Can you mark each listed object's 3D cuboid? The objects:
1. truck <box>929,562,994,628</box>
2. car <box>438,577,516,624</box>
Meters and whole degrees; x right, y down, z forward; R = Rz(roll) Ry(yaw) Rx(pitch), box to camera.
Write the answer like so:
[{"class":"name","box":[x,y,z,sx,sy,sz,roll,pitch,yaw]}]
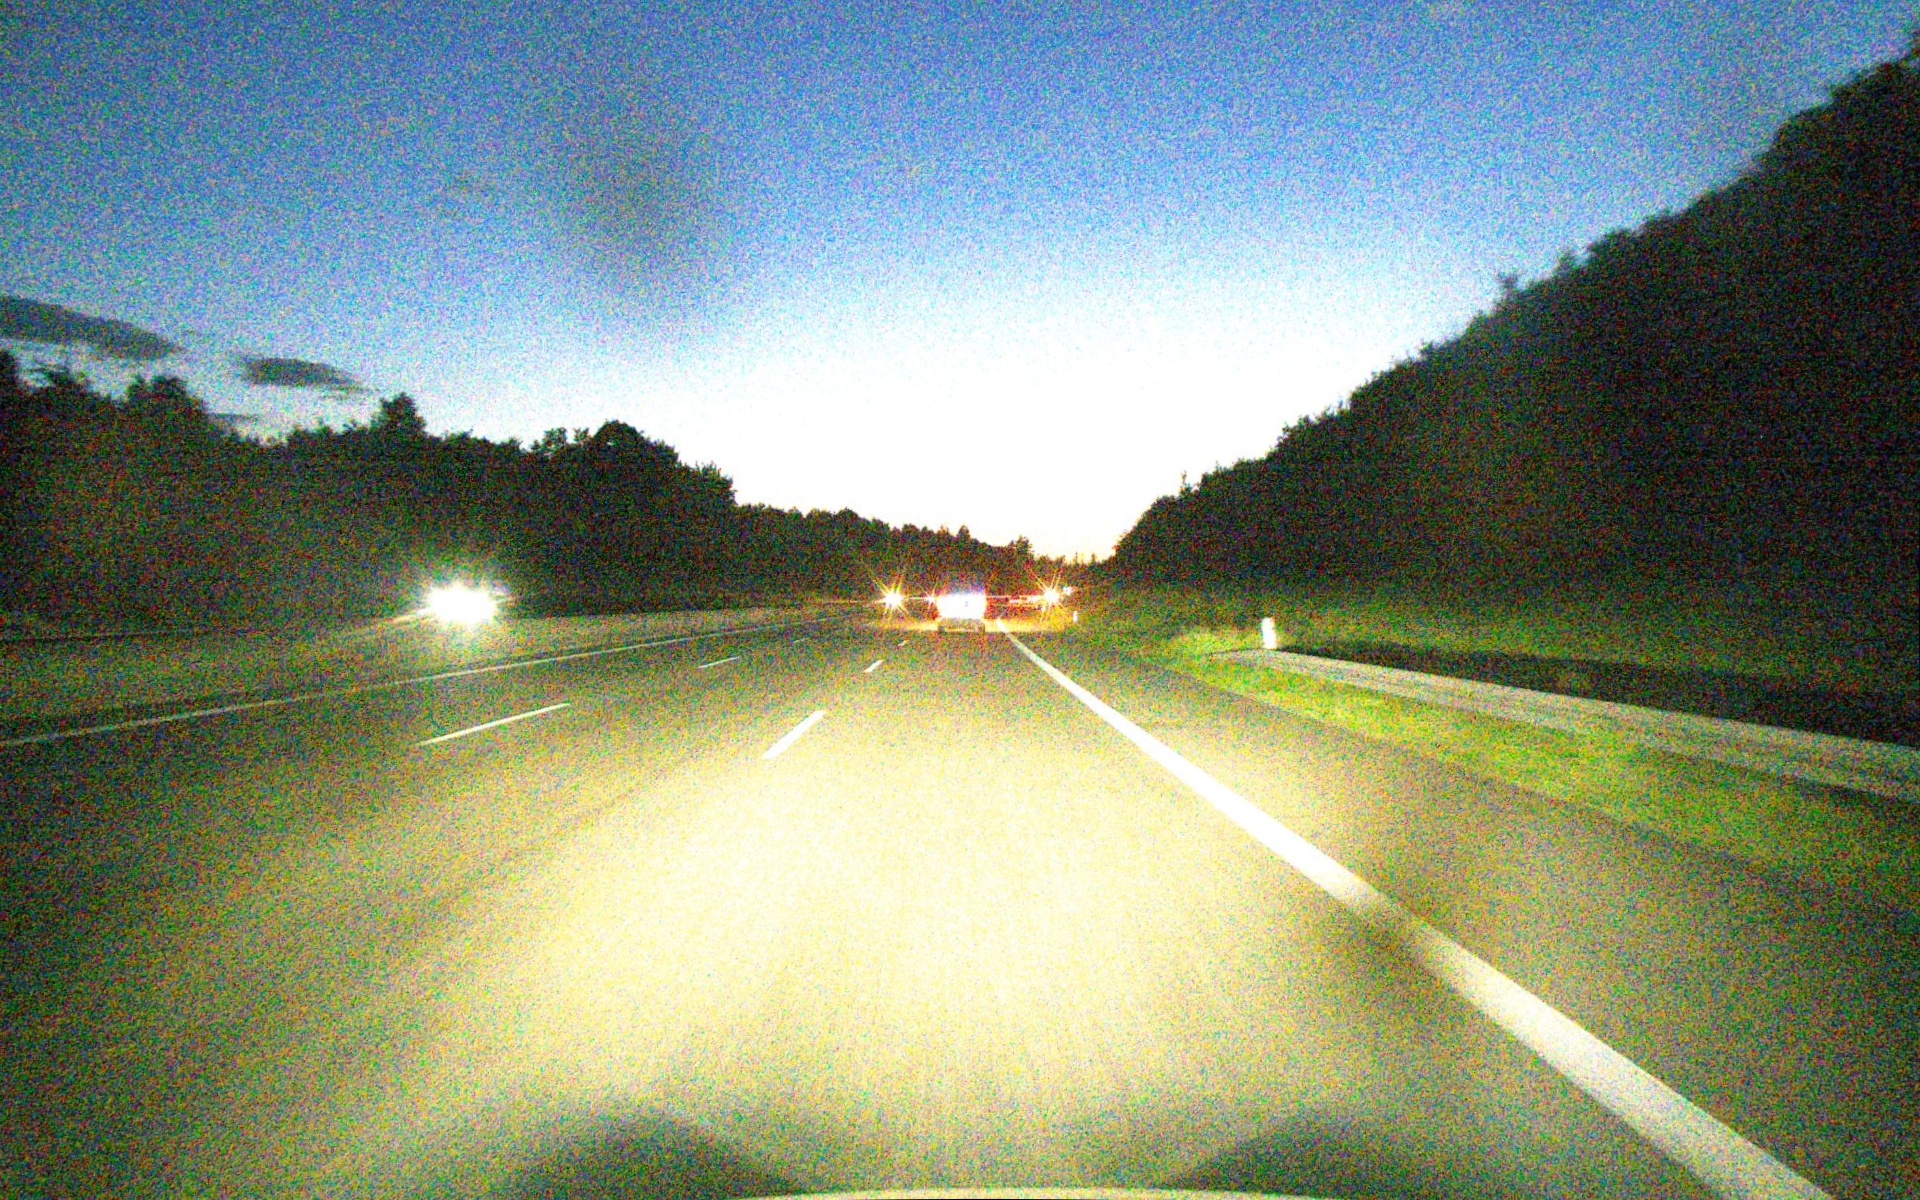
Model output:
[{"class":"truck","box":[-0.004,-0.171,71.662,2.577,2.670,8.682,1,0,-1]},{"class":"car","box":[-22.105,0.021,75.918,1.985,2.049,5.186,1,0,0]}]
